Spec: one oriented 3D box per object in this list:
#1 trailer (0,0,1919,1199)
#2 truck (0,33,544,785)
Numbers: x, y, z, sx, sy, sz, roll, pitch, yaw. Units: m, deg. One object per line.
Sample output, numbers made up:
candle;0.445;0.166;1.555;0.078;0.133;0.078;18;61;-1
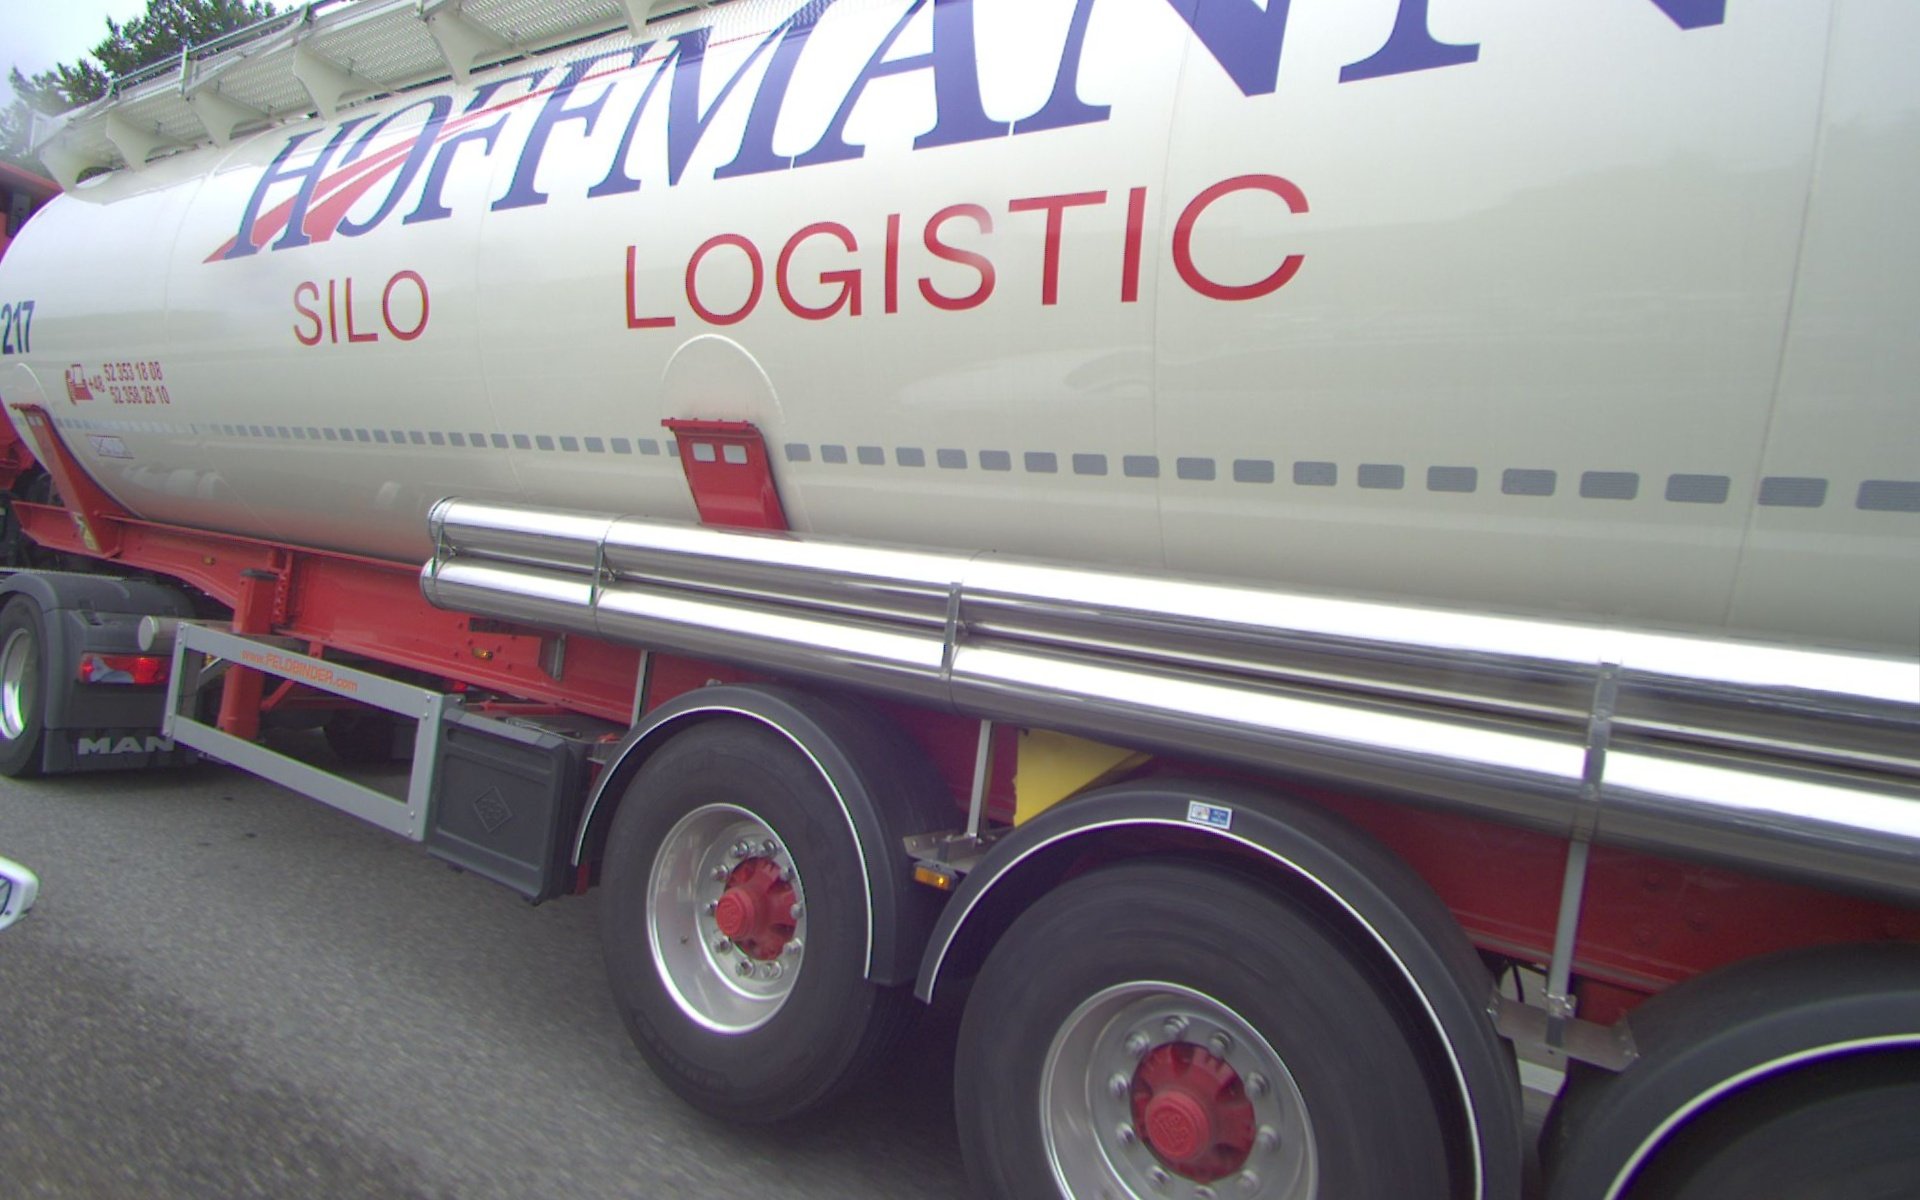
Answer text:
trailer;-1.001;-0.532;4.454;12.911;3.986;2.672;7;-1;31
truck;-6.784;-1.217;8.119;6.447;3.960;2.699;7;0;32
